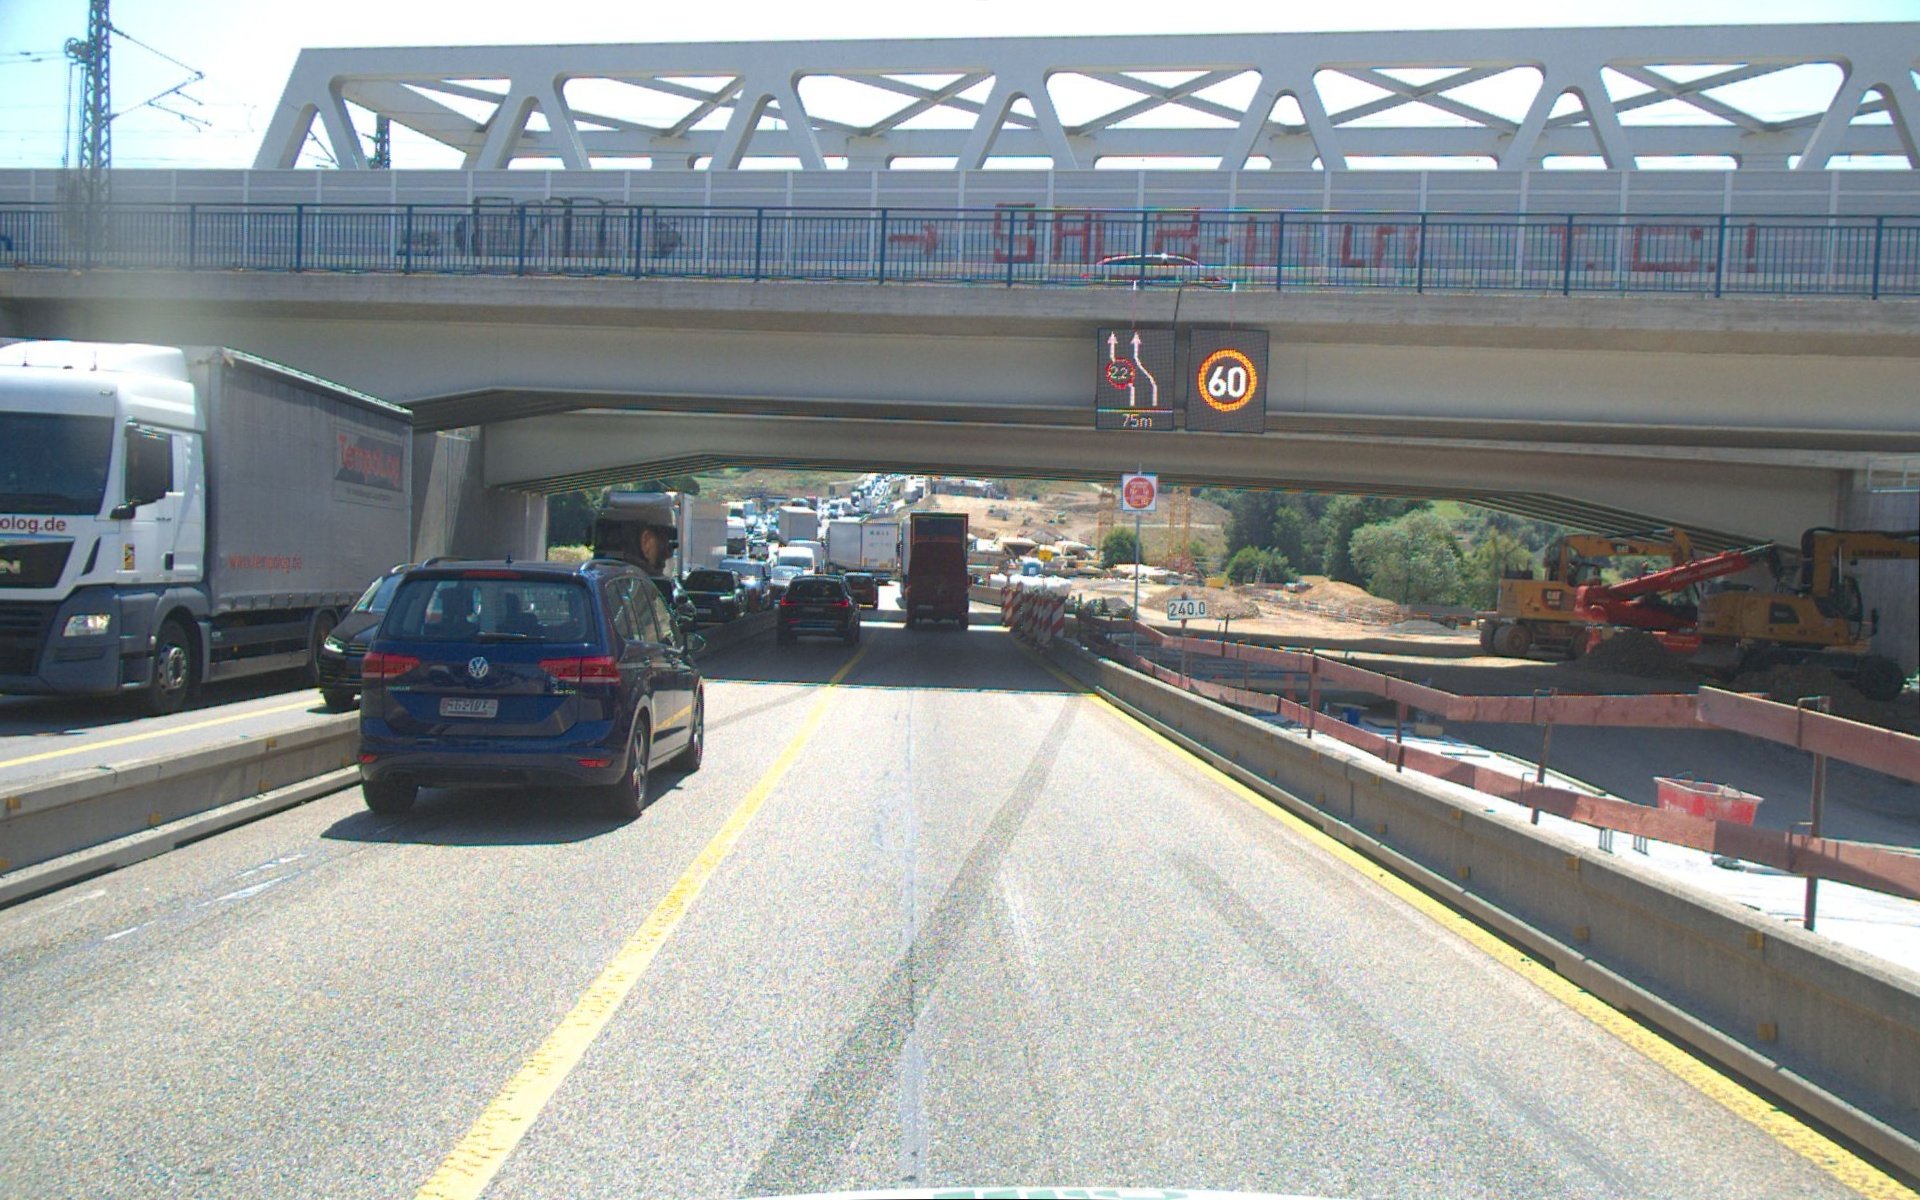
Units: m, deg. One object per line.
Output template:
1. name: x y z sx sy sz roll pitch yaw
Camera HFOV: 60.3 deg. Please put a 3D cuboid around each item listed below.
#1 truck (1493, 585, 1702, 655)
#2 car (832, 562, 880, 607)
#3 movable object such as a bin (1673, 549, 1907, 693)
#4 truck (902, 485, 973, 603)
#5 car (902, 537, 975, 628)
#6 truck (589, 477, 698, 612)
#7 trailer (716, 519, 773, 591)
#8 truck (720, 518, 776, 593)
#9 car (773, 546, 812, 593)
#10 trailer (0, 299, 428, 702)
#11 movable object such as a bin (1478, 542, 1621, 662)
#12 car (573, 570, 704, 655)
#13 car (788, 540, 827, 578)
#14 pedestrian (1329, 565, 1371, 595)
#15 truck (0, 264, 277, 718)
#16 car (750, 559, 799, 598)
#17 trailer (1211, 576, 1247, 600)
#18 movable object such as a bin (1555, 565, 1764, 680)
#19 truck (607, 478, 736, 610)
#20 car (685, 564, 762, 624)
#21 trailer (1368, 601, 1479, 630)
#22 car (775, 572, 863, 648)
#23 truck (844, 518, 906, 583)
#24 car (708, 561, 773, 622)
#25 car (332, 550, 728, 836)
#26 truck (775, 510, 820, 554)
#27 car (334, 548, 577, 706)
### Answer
1. truck: 22.652 0.688 59.023 6.386 2.109 2.666 3 1 2
2. car: -4.371 -0.638 69.991 1.796 1.808 4.389 1 0 -1
3. movable object such as a bin: 21.285 0.530 42.625 4.459 3.344 2.991 3 0 3
4. truck: -1.092 -2.602 74.581 2.886 5.030 6.740 1 3 -3
5. car: -0.660 -0.512 52.269 2.106 2.656 5.437 1 0 0
6. truck: -10.536 -1.756 55.478 2.605 4.243 5.185 1 0 -1
7. trailer: -13.743 -2.884 104.631 2.825 4.109 14.327 3 1 -10
8. truck: -12.523 -2.639 97.480 2.822 4.121 4.874 3 1 -10
9. car: -8.913 -1.610 88.269 1.942 2.370 6.051 1 1 -5
10. trailer: -9.606 -1.043 21.765 2.756 4.247 8.239 1 0 -2
11. movable object such as a bin: 19.131 0.069 53.926 3.799 3.604 2.905 3 0 10
12. car: -6.456 0.245 33.671 1.818 1.554 4.772 1 0 -2
13. car: -10.654 -2.887 115.337 2.224 2.395 5.150 1 3 -10
14. pedestrian: 28.081 -1.425 119.133 1.953 2.049 3.998 1 0 -2
15. truck: -9.404 -1.028 17.433 2.742 4.223 4.071 1 0 -3
16. car: -8.148 -0.950 72.863 1.713 1.637 4.141 1 1 -1
17. trailer: 18.511 -0.837 113.940 1.592 1.511 3.823 2 2 -5
18. movable object such as a bin: 21.011 0.668 49.884 5.131 3.109 2.497 3 0 3
19. truck: -10.648 -1.864 62.511 2.713 4.389 13.486 1 0 -1
20. car: -7.010 -0.221 49.405 1.687 1.637 4.523 3 1 -2
21. trailer: 21.783 0.721 77.861 4.618 1.241 2.055 1 0 -2
22. car: -3.309 0.202 39.442 1.796 1.664 4.388 1 0 -2
23. truck: -5.704 -3.351 110.239 3.125 4.058 6.726 1 3 -11
24. car: -7.535 -0.309 57.099 1.764 1.966 4.966 1 1 -3
25. car: -2.867 0.546 12.040 1.698 1.664 4.389 1 0 0
26. truck: -14.529 -6.002 147.484 3.161 3.419 8.918 1 0 -10
27. car: -6.388 0.273 21.510 1.818 1.787 4.608 1 1 -2
